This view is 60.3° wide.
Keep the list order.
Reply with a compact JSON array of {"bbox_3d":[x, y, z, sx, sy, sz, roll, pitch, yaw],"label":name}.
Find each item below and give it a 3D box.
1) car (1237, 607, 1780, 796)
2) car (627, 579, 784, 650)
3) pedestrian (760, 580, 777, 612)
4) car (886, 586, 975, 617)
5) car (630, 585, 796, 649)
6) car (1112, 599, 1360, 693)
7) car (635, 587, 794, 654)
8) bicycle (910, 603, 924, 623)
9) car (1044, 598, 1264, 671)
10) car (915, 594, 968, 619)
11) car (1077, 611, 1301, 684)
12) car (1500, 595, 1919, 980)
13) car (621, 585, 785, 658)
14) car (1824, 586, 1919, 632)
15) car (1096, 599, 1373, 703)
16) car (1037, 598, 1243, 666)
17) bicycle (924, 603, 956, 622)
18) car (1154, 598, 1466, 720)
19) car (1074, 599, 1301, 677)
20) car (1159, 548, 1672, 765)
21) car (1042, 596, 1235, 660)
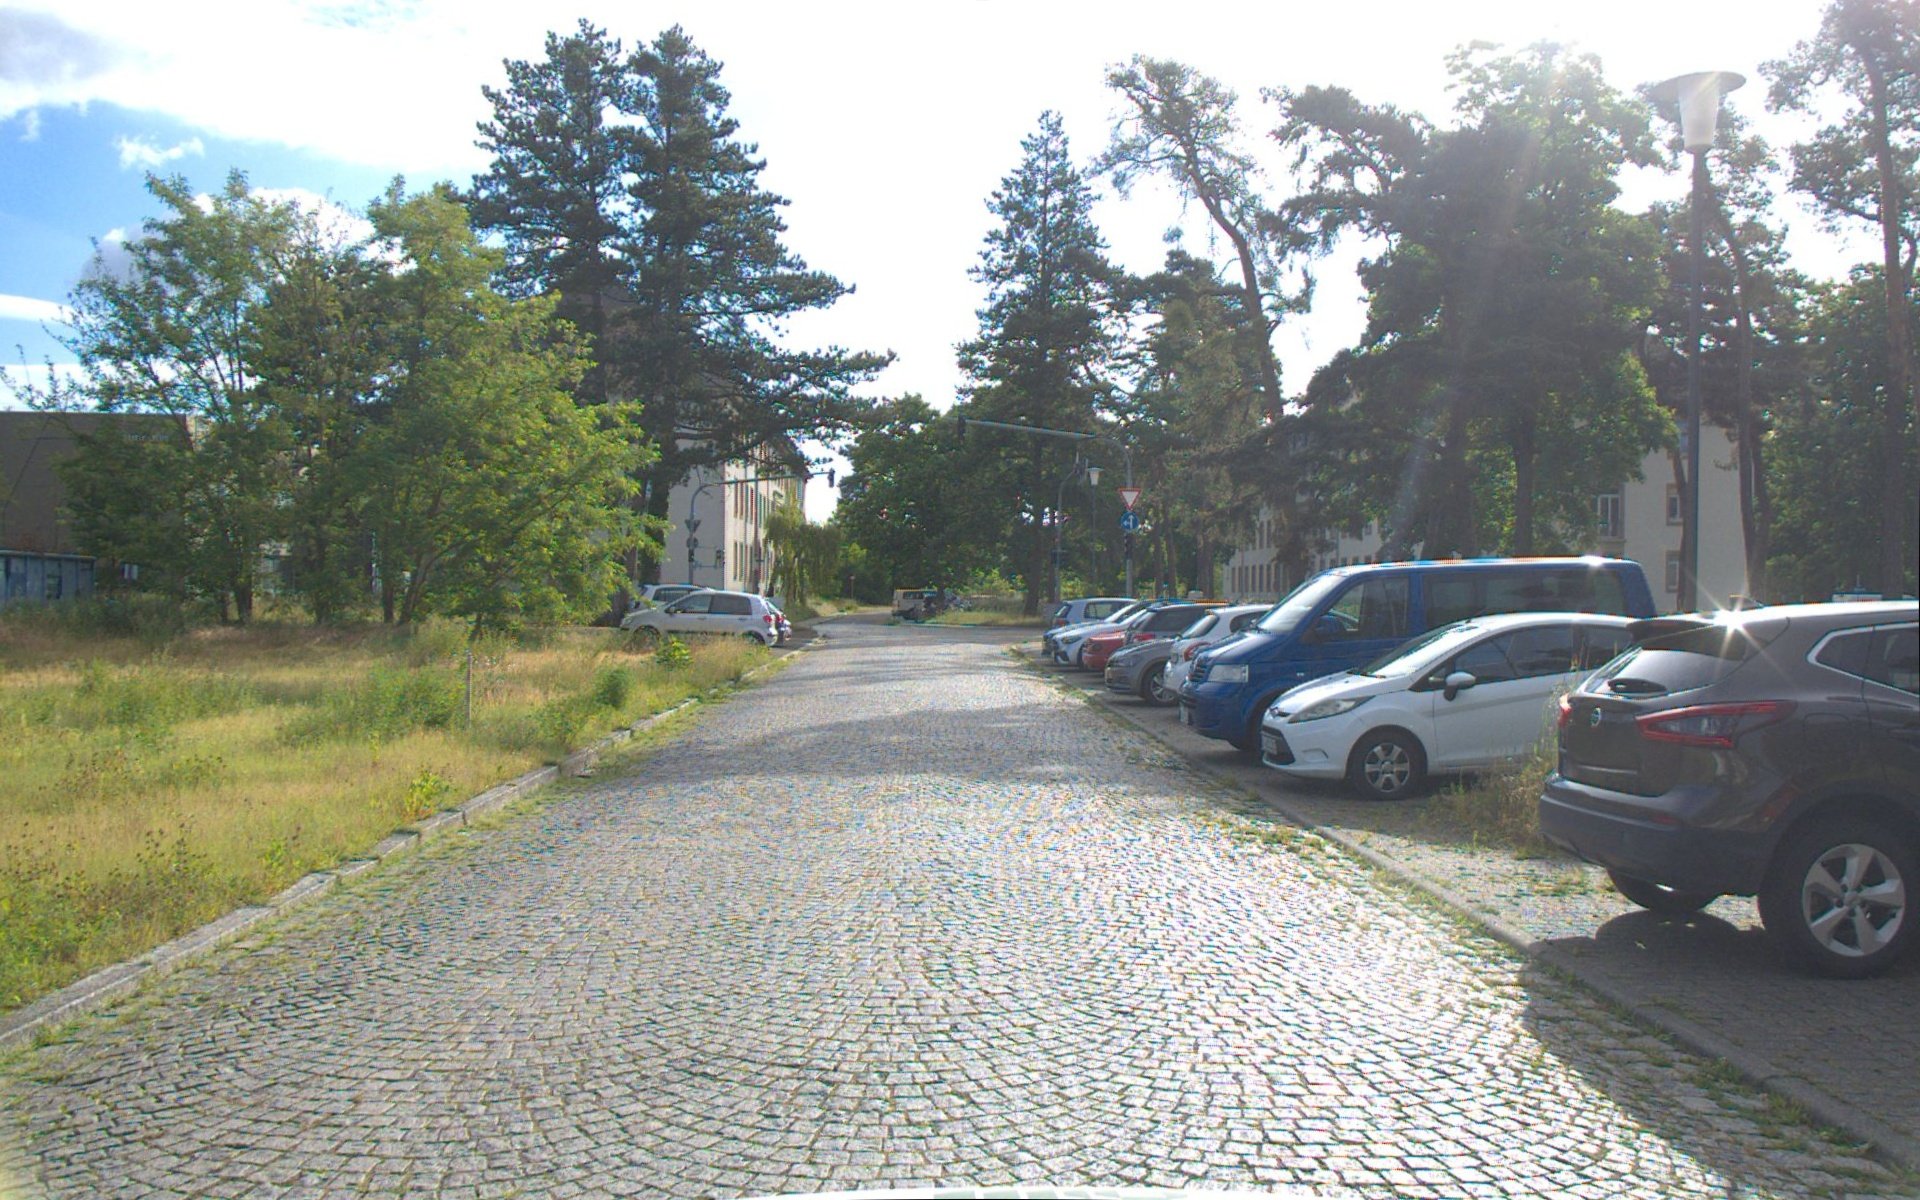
[{"bbox_3d":[4.651,0.823,14.371,4.109,1.495,1.805,0,-1,-6],"label":"car"},{"bbox_3d":[-6.824,0.390,44.720,4.043,1.627,1.856,3,-1,-7],"label":"car"},{"bbox_3d":[-11.974,-0.230,103.513,0.965,1.998,0.932,1,-1,-3],"label":"pedestrian"},{"bbox_3d":[-1.937,0.112,107.504,5.411,1.949,2.244,1,-1,-16],"label":"car"},{"bbox_3d":[-7.005,0.478,47.256,4.498,1.481,1.902,3,1,-5],"label":"car"},{"bbox_3d":[4.617,0.764,28.020,3.871,1.521,1.771,0,-1,-2],"label":"car"},{"bbox_3d":[-6.195,0.524,42.050,3.753,1.454,1.858,3,-1,-3],"label":"car"},{"bbox_3d":[-2.292,0.687,87.951,0.713,1.016,1.798,0,1,-2],"label":"bicycle"},{"bbox_3d":[4.083,0.724,35.289,4.416,1.499,1.848,0,-1,-3],"label":"car"},{"bbox_3d":[-1.158,0.403,103.965,2.982,1.491,1.713,1,-1,-15],"label":"car"},{"bbox_3d":[4.192,0.859,30.642,3.871,1.283,1.726,0,-1,-2],"label":"car"},{"bbox_3d":[4.984,0.790,8.026,4.107,1.617,1.877,0,-1,-3],"label":"car"},{"bbox_3d":[-6.065,0.505,39.399,3.610,1.499,1.848,3,-1,-4],"label":"car"},{"bbox_3d":[53.126,0.537,95.760,5.053,2.580,2.264,1,-1,-1],"label":"car"},{"bbox_3d":[4.091,0.751,25.075,3.871,1.493,1.830,0,-1,-2],"label":"car"},{"bbox_3d":[4.094,0.722,38.069,4.420,1.499,1.893,0,-1,-6],"label":"car"},{"bbox_3d":[-1.114,0.703,92.612,1.757,1.016,0.644,0,1,-3],"label":"bicycle"},{"bbox_3d":[4.626,0.760,22.238,3.796,1.557,1.807,0,-1,-2],"label":"car"},{"bbox_3d":[4.494,0.739,33.034,4.254,1.499,1.739,0,-1,-3],"label":"car"},{"bbox_3d":[4.512,0.545,16.879,4.638,1.962,1.991,-1,0,-3],"label":"car"},{"bbox_3d":[4.346,0.679,40.706,4.454,1.532,1.931,0,-1,-4],"label":"car"}]
